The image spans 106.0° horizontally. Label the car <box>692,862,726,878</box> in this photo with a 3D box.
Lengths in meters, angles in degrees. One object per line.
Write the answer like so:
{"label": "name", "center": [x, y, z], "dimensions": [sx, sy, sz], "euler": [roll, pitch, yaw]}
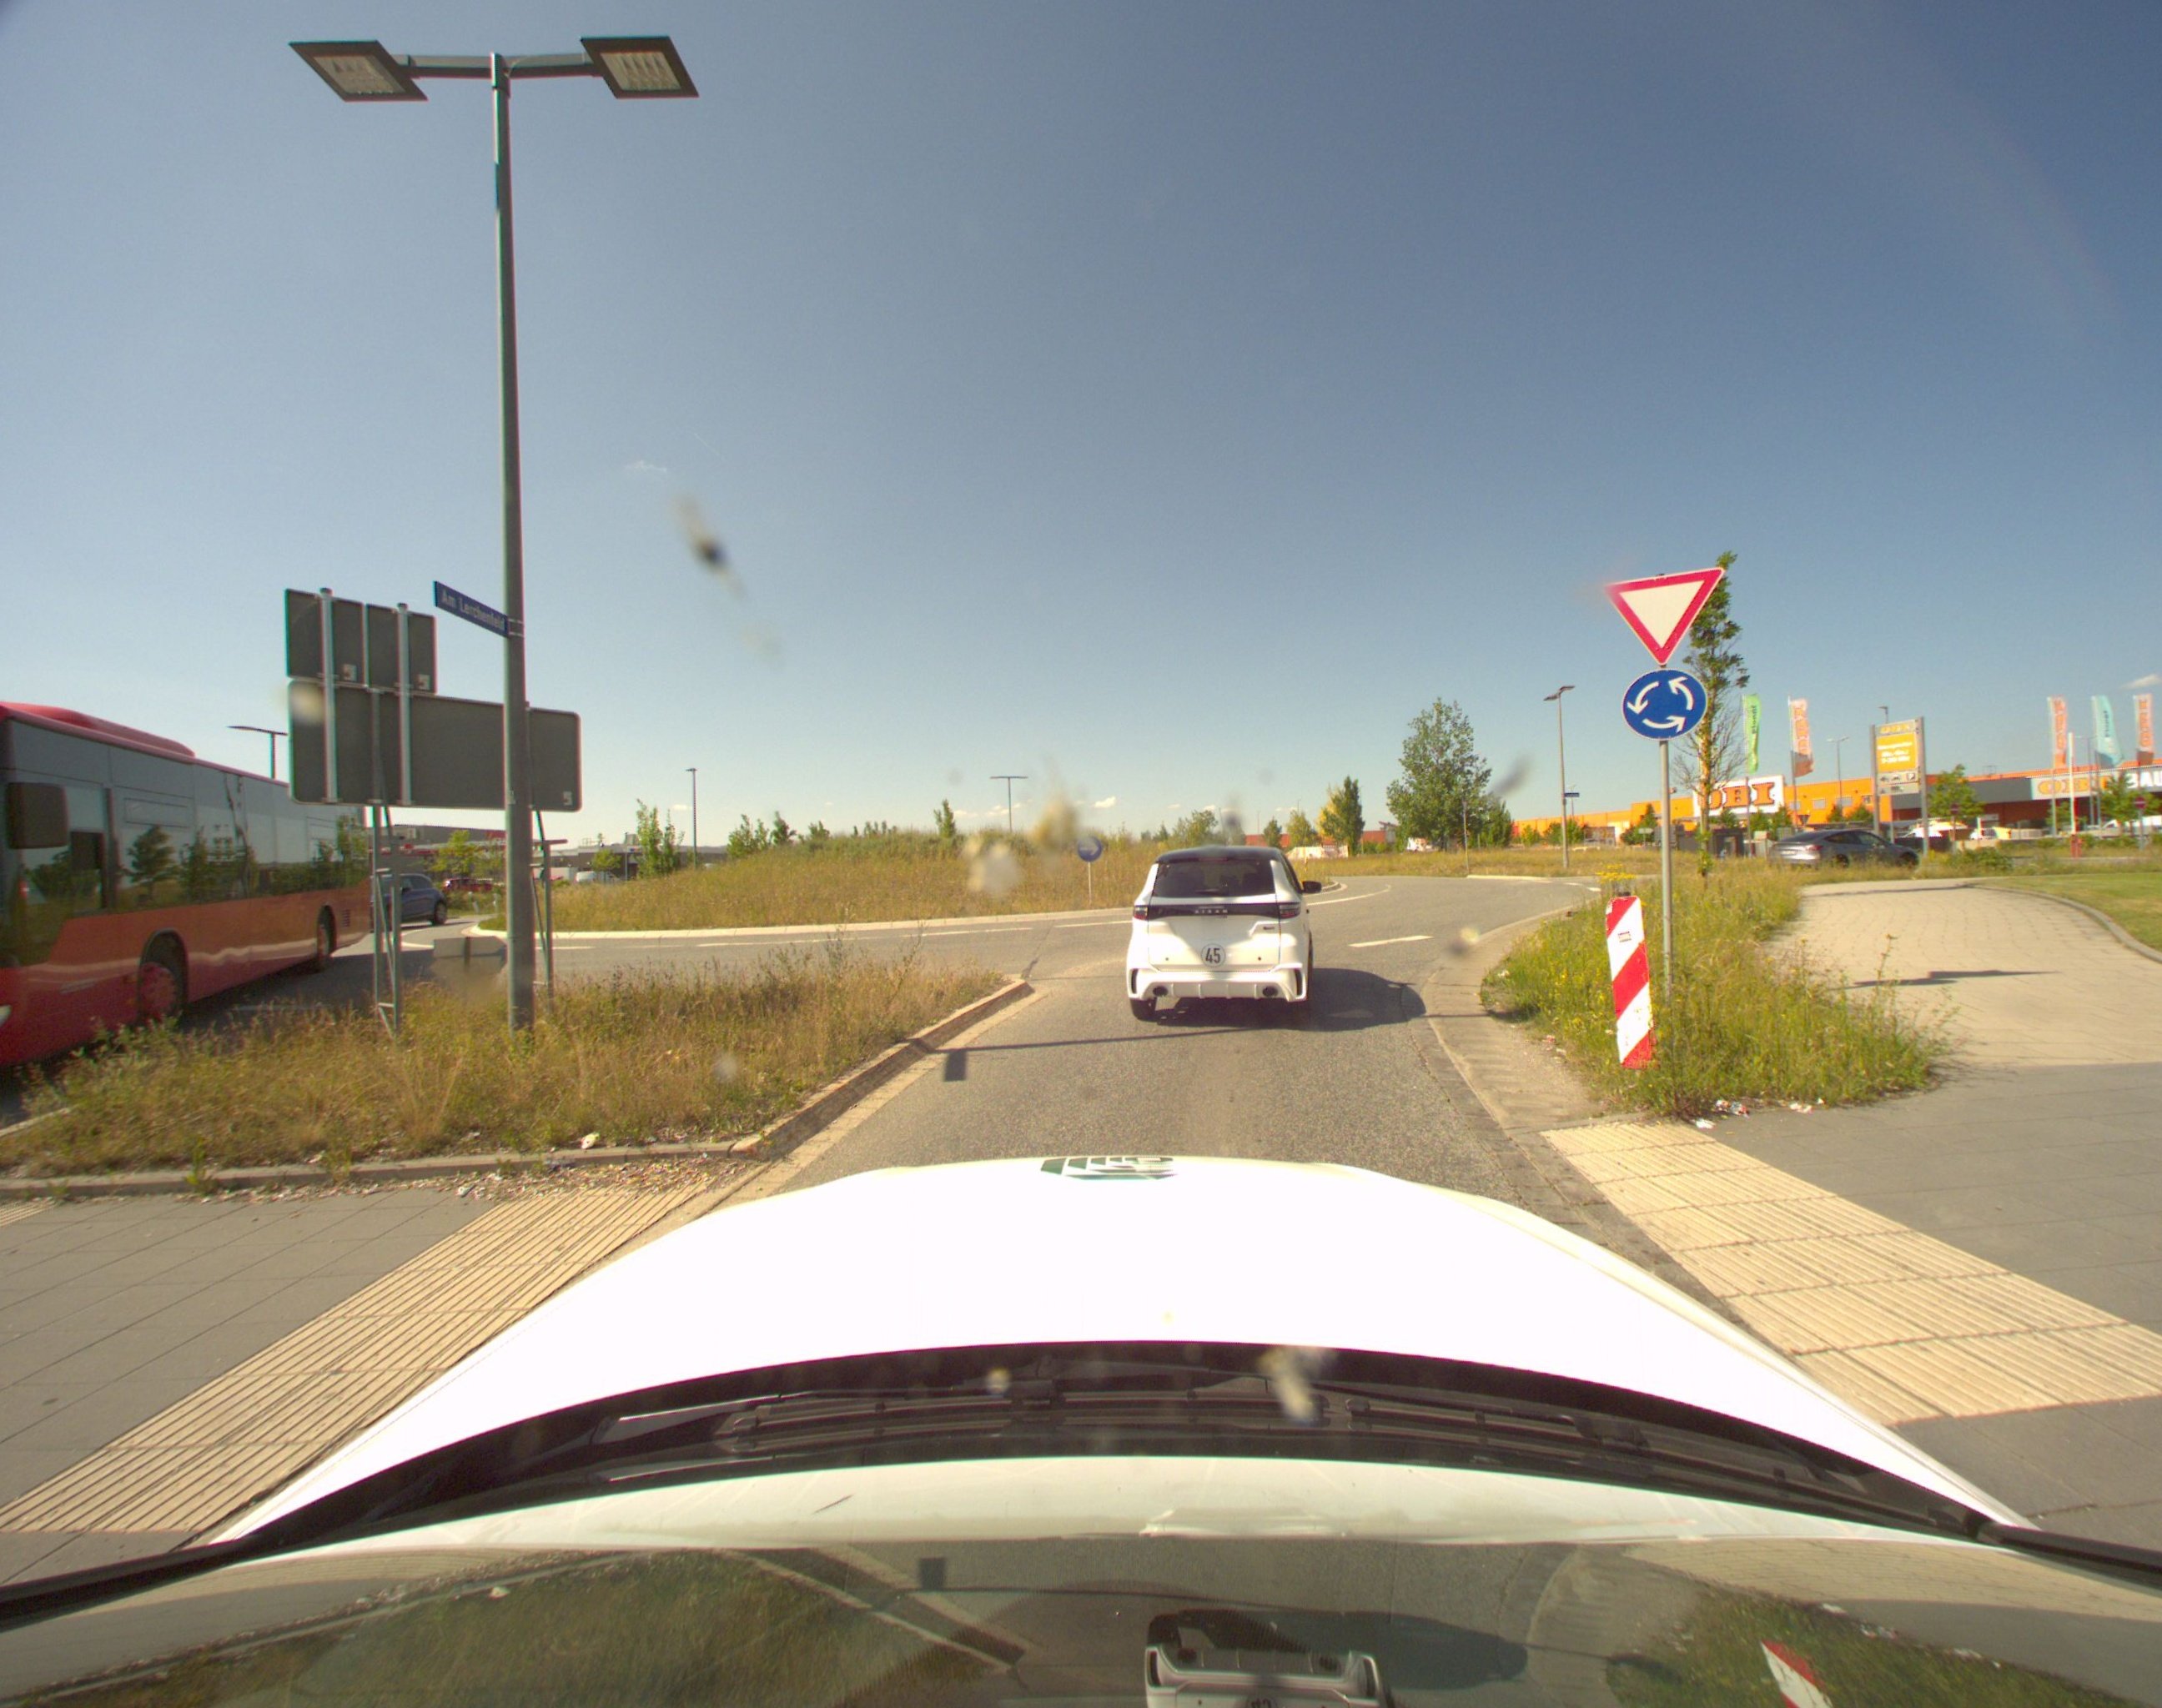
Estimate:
{"label": "car", "center": [-42.695, 1.860, 93.517], "dimensions": [1.988, 1.732, 3.998], "euler": [-2, -1, -1]}

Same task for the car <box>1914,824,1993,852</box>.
{"label": "car", "center": [58.600, -1.072, 54.749], "dimensions": [3.757, 1.841, 1.697], "euler": [0, -1, -6]}

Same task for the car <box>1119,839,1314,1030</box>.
{"label": "car", "center": [1.487, 0.609, 8.107], "dimensions": [1.498, 1.440, 3.365], "euler": [-1, 1, 15]}

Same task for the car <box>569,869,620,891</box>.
{"label": "car", "center": [-46.897, 2.485, 78.676], "dimensions": [1.989, 2.014, 5.131], "euler": [-2, -1, -2]}

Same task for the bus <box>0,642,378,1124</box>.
{"label": "bus", "center": [-11.434, 0.355, 9.795], "dimensions": [2.627, 3.241, 11.759], "euler": [-3, 1, -32]}

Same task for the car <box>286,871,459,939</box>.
{"label": "car", "center": [-20.386, 1.397, 23.694], "dimensions": [1.851, 1.635, 4.066], "euler": [-3, 0, -10]}

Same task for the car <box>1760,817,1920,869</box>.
{"label": "car", "center": [25.799, -0.375, 27.736], "dimensions": [4.154, 1.584, 1.825], "euler": [-2, -1, -10]}
